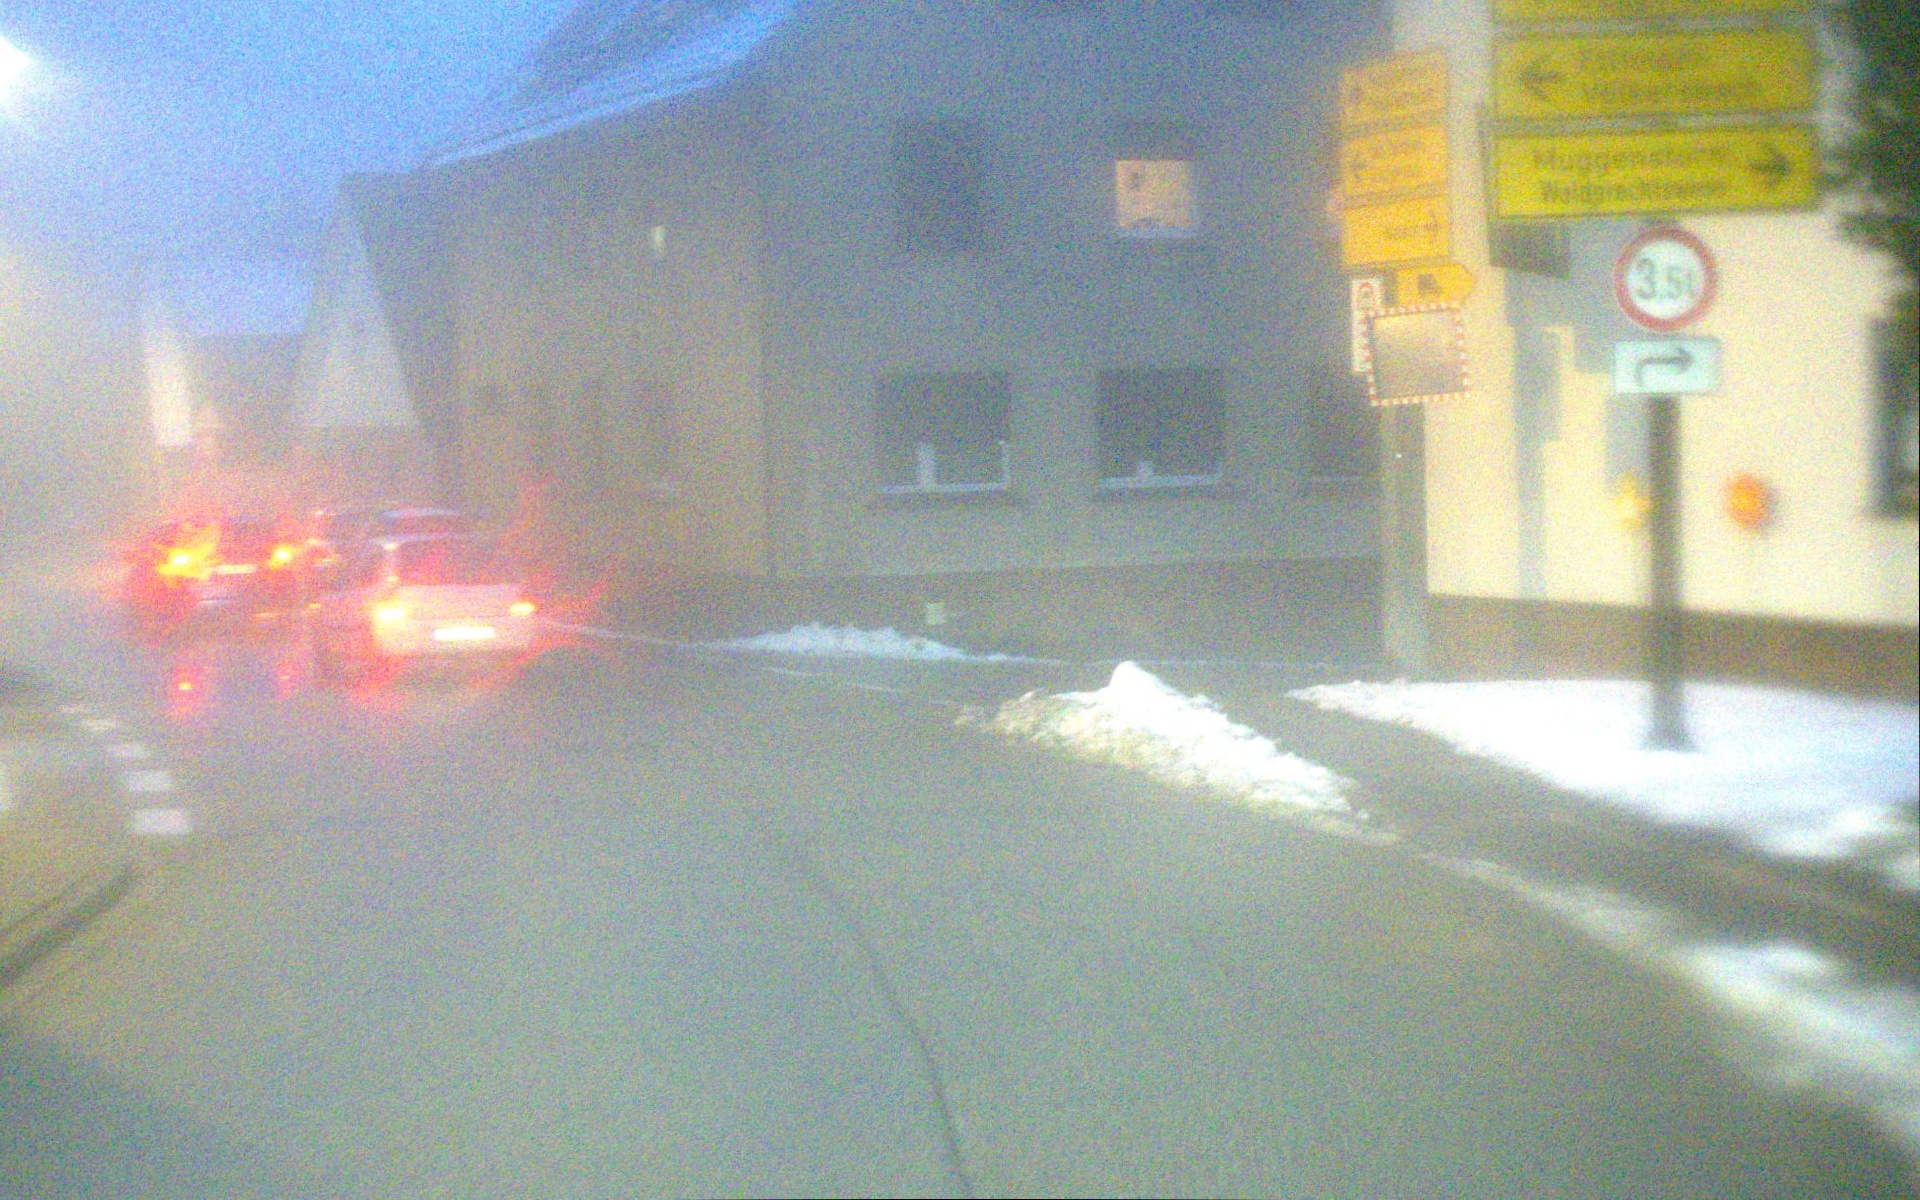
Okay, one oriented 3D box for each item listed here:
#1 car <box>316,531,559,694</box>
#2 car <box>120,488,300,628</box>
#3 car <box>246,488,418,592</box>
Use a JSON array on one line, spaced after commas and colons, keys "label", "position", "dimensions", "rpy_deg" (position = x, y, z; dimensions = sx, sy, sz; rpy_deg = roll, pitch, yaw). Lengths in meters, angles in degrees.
[{"label": "car", "position": [-5.249, 0.115, 34.160], "dimensions": [1.993, 1.503, 4.001], "rpy_deg": [1, 0, -14]}, {"label": "car", "position": [-9.881, -0.535, 45.118], "dimensions": [1.993, 1.722, 4.001], "rpy_deg": [1, 0, -17]}, {"label": "car", "position": [-9.616, -0.929, 52.382], "dimensions": [1.910, 1.476, 4.283], "rpy_deg": [-2, 2, -19]}]
